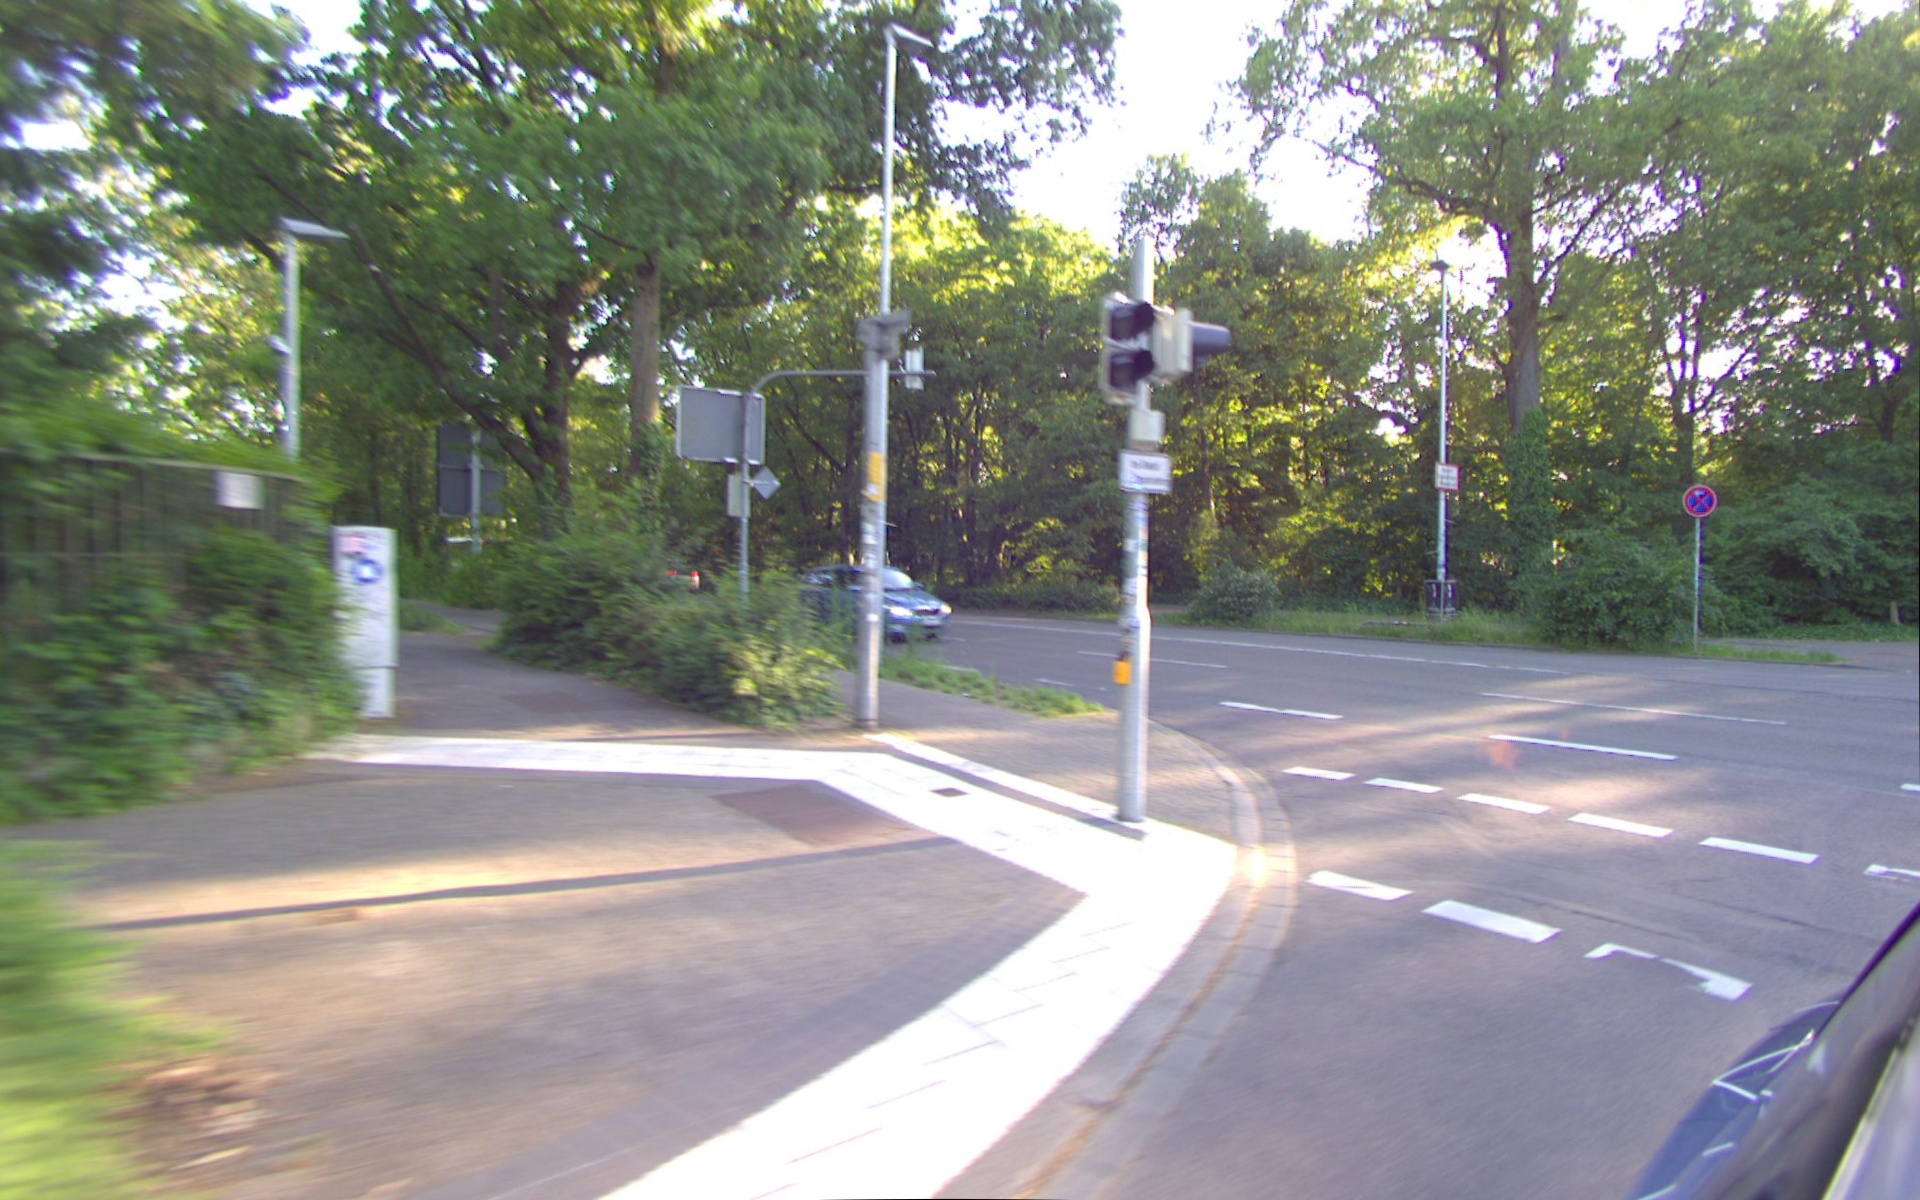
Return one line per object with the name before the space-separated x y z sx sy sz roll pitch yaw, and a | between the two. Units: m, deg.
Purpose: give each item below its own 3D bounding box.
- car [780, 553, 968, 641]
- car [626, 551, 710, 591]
car | -1.890 -0.154 21.099 1.781 1.599 4.315 -3 4 -39
car | -13.167 -1.331 45.476 1.959 1.627 4.358 3 0 -40
